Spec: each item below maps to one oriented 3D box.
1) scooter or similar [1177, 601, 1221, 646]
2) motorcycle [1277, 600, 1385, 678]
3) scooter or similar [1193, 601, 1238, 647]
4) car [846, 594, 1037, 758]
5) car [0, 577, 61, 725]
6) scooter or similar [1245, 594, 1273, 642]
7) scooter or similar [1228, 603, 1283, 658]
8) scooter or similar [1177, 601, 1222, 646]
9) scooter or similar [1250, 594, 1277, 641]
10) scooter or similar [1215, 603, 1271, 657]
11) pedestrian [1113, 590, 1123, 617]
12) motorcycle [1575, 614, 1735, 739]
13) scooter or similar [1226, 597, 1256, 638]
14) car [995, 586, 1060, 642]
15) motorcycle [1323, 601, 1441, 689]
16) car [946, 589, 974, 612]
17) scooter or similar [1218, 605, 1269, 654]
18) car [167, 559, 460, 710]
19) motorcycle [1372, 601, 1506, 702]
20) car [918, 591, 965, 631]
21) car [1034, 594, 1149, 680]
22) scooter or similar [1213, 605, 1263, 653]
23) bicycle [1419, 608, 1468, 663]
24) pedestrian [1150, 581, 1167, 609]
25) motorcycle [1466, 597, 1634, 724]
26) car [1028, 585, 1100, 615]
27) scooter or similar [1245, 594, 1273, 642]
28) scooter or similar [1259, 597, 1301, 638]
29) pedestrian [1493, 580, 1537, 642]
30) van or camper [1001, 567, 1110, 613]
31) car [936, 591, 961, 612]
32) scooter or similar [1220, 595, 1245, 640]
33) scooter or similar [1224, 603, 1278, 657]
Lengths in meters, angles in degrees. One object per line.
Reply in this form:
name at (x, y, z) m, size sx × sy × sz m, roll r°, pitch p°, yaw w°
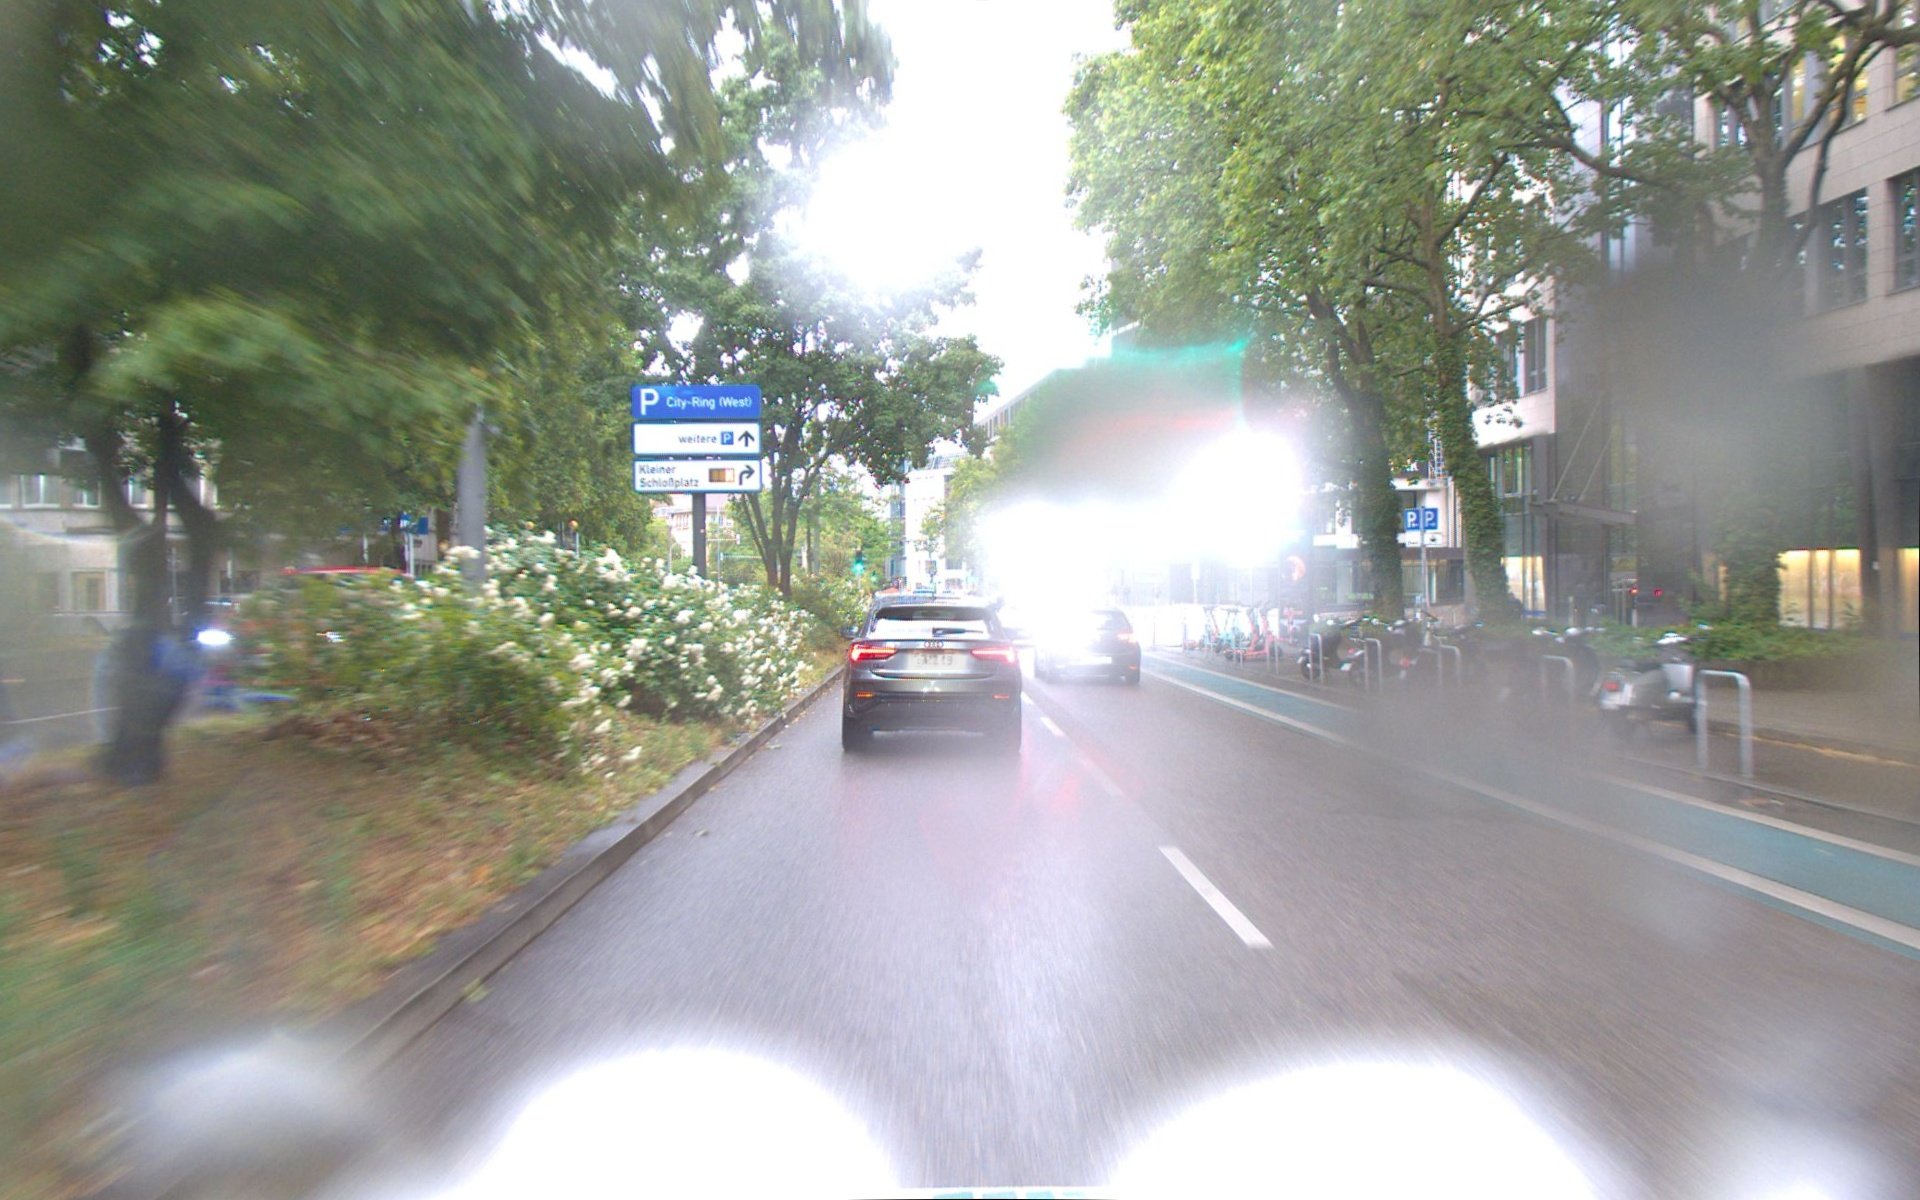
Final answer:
scooter or similar at (7.105, 0.700, 49.181) m, size 1.262 × 1.281 × 0.490 m, roll -1°, pitch 2°, yaw 10°
motorcycle at (7.160, 0.738, 31.927) m, size 1.925 × 1.397 × 0.726 m, roll -2°, pitch 2°, yaw -18°
scooter or similar at (7.420, 0.694, 48.043) m, size 1.262 × 1.281 × 0.490 m, roll -1°, pitch 2°, yaw 10°
car at (-0.243, 0.715, 17.735) m, size 1.812 × 1.550 × 4.037 m, roll 0°, pitch 0°, yaw -2°
car at (-10.255, 0.543, 15.040) m, size 1.692 × 1.453 × 4.496 m, roll -3°, pitch 0°, yaw -1°
scooter or similar at (8.365, 0.490, 46.292) m, size 0.478 × 1.281 × 1.293 m, roll -2°, pitch 2°, yaw -1°
scooter or similar at (7.334, 0.755, 41.104) m, size 1.262 × 1.300 × 0.537 m, roll -1°, pitch 2°, yaw 3°
scooter or similar at (7.042, 0.695, 48.568) m, size 1.262 × 1.281 × 0.490 m, roll -1°, pitch 2°, yaw 10°
scooter or similar at (8.711, 0.503, 47.532) m, size 0.478 × 1.281 × 1.293 m, roll -2°, pitch 2°, yaw -1°
scooter or similar at (7.223, 0.763, 42.230) m, size 1.267 × 1.300 × 0.535 m, roll -2°, pitch 2°, yaw -12°
pedestrian at (10.872, 0.216, 113.847) m, size 0.542 × 1.837 × 0.761 m, roll 1°, pitch -1°, yaw -4°
motorcycle at (7.801, 0.833, 18.521) m, size 2.038 × 1.234 × 0.676 m, roll -3°, pitch 0°, yaw -37°
scooter or similar at (8.495, 0.522, 50.088) m, size 0.479 × 1.219 × 1.290 m, roll 0°, pitch -1°, yaw -10°
car at (2.082, 0.413, 52.225) m, size 1.812 × 1.698 × 4.037 m, roll 0°, pitch 0°, yaw -1°
motorcycle at (7.315, 0.761, 28.641) m, size 1.929 × 1.397 × 0.724 m, roll -2°, pitch 2°, yaw -23°
car at (-0.026, 0.034, 111.040) m, size 1.812 × 1.550 × 4.037 m, roll 0°, pitch 0°, yaw -1°
scooter or similar at (7.595, 0.784, 44.376) m, size 1.263 × 1.257 × 0.489 m, roll -2°, pitch 2°, yaw 1°
car at (-7.206, 0.344, 18.903) m, size 1.692 × 1.453 × 4.189 m, roll -3°, pitch 0°, yaw -1°
motorcycle at (7.300, 0.765, 25.209) m, size 1.929 × 1.397 × 0.724 m, roll -2°, pitch 2°, yaw -23°
car at (-0.760, 0.416, 66.335) m, size 1.812 × 1.550 × 4.037 m, roll 0°, pitch 0°, yaw -1°
car at (2.458, 0.662, 31.738) m, size 1.812 × 1.550 × 4.037 m, roll 0°, pitch 0°, yaw -1°
scooter or similar at (7.577, 0.790, 45.121) m, size 1.263 × 1.257 × 0.489 m, roll -2°, pitch 2°, yaw 1°
bicycle at (9.705, 0.696, 33.153) m, size 0.625 × 1.046 × 1.761 m, roll 0°, pitch 0°, yaw 27°
pedestrian at (12.331, -0.297, 102.733) m, size 0.789 × 1.726 × 1.186 m, roll 1°, pitch 0°, yaw -6°
motorcycle at (7.427, 0.731, 20.817) m, size 2.025 × 1.453 × 0.724 m, roll -2°, pitch 2°, yaw -23°
car at (5.605, -0.032, 89.048) m, size 3.572 × 1.574 × 1.716 m, roll 0°, pitch 0°, yaw 18°
scooter or similar at (8.365, 0.490, 46.292) m, size 0.478 × 1.281 × 1.293 m, roll -2°, pitch 2°, yaw -1°
scooter or similar at (9.647, 0.532, 49.891) m, size 0.483 × 1.219 × 1.279 m, roll 0°, pitch -1°, yaw -32°
pedestrian at (17.257, 0.342, 51.410) m, size 0.899 × 1.882 × 1.276 m, roll 1°, pitch -1°, yaw -2°
van or camper at (5.503, -0.538, 95.206) m, size 5.946 × 2.603 × 2.103 m, roll 0°, pitch 0°, yaw 26°
car at (-0.886, 0.095, 126.479) m, size 1.812 × 1.550 × 4.037 m, roll 0°, pitch 0°, yaw -1°
scooter or similar at (8.116, 0.511, 49.223) m, size 0.478 × 1.281 × 1.293 m, roll -2°, pitch 2°, yaw -1°
scooter or similar at (7.309, 0.758, 41.547) m, size 1.262 × 1.300 × 0.537 m, roll -1°, pitch 2°, yaw 3°
